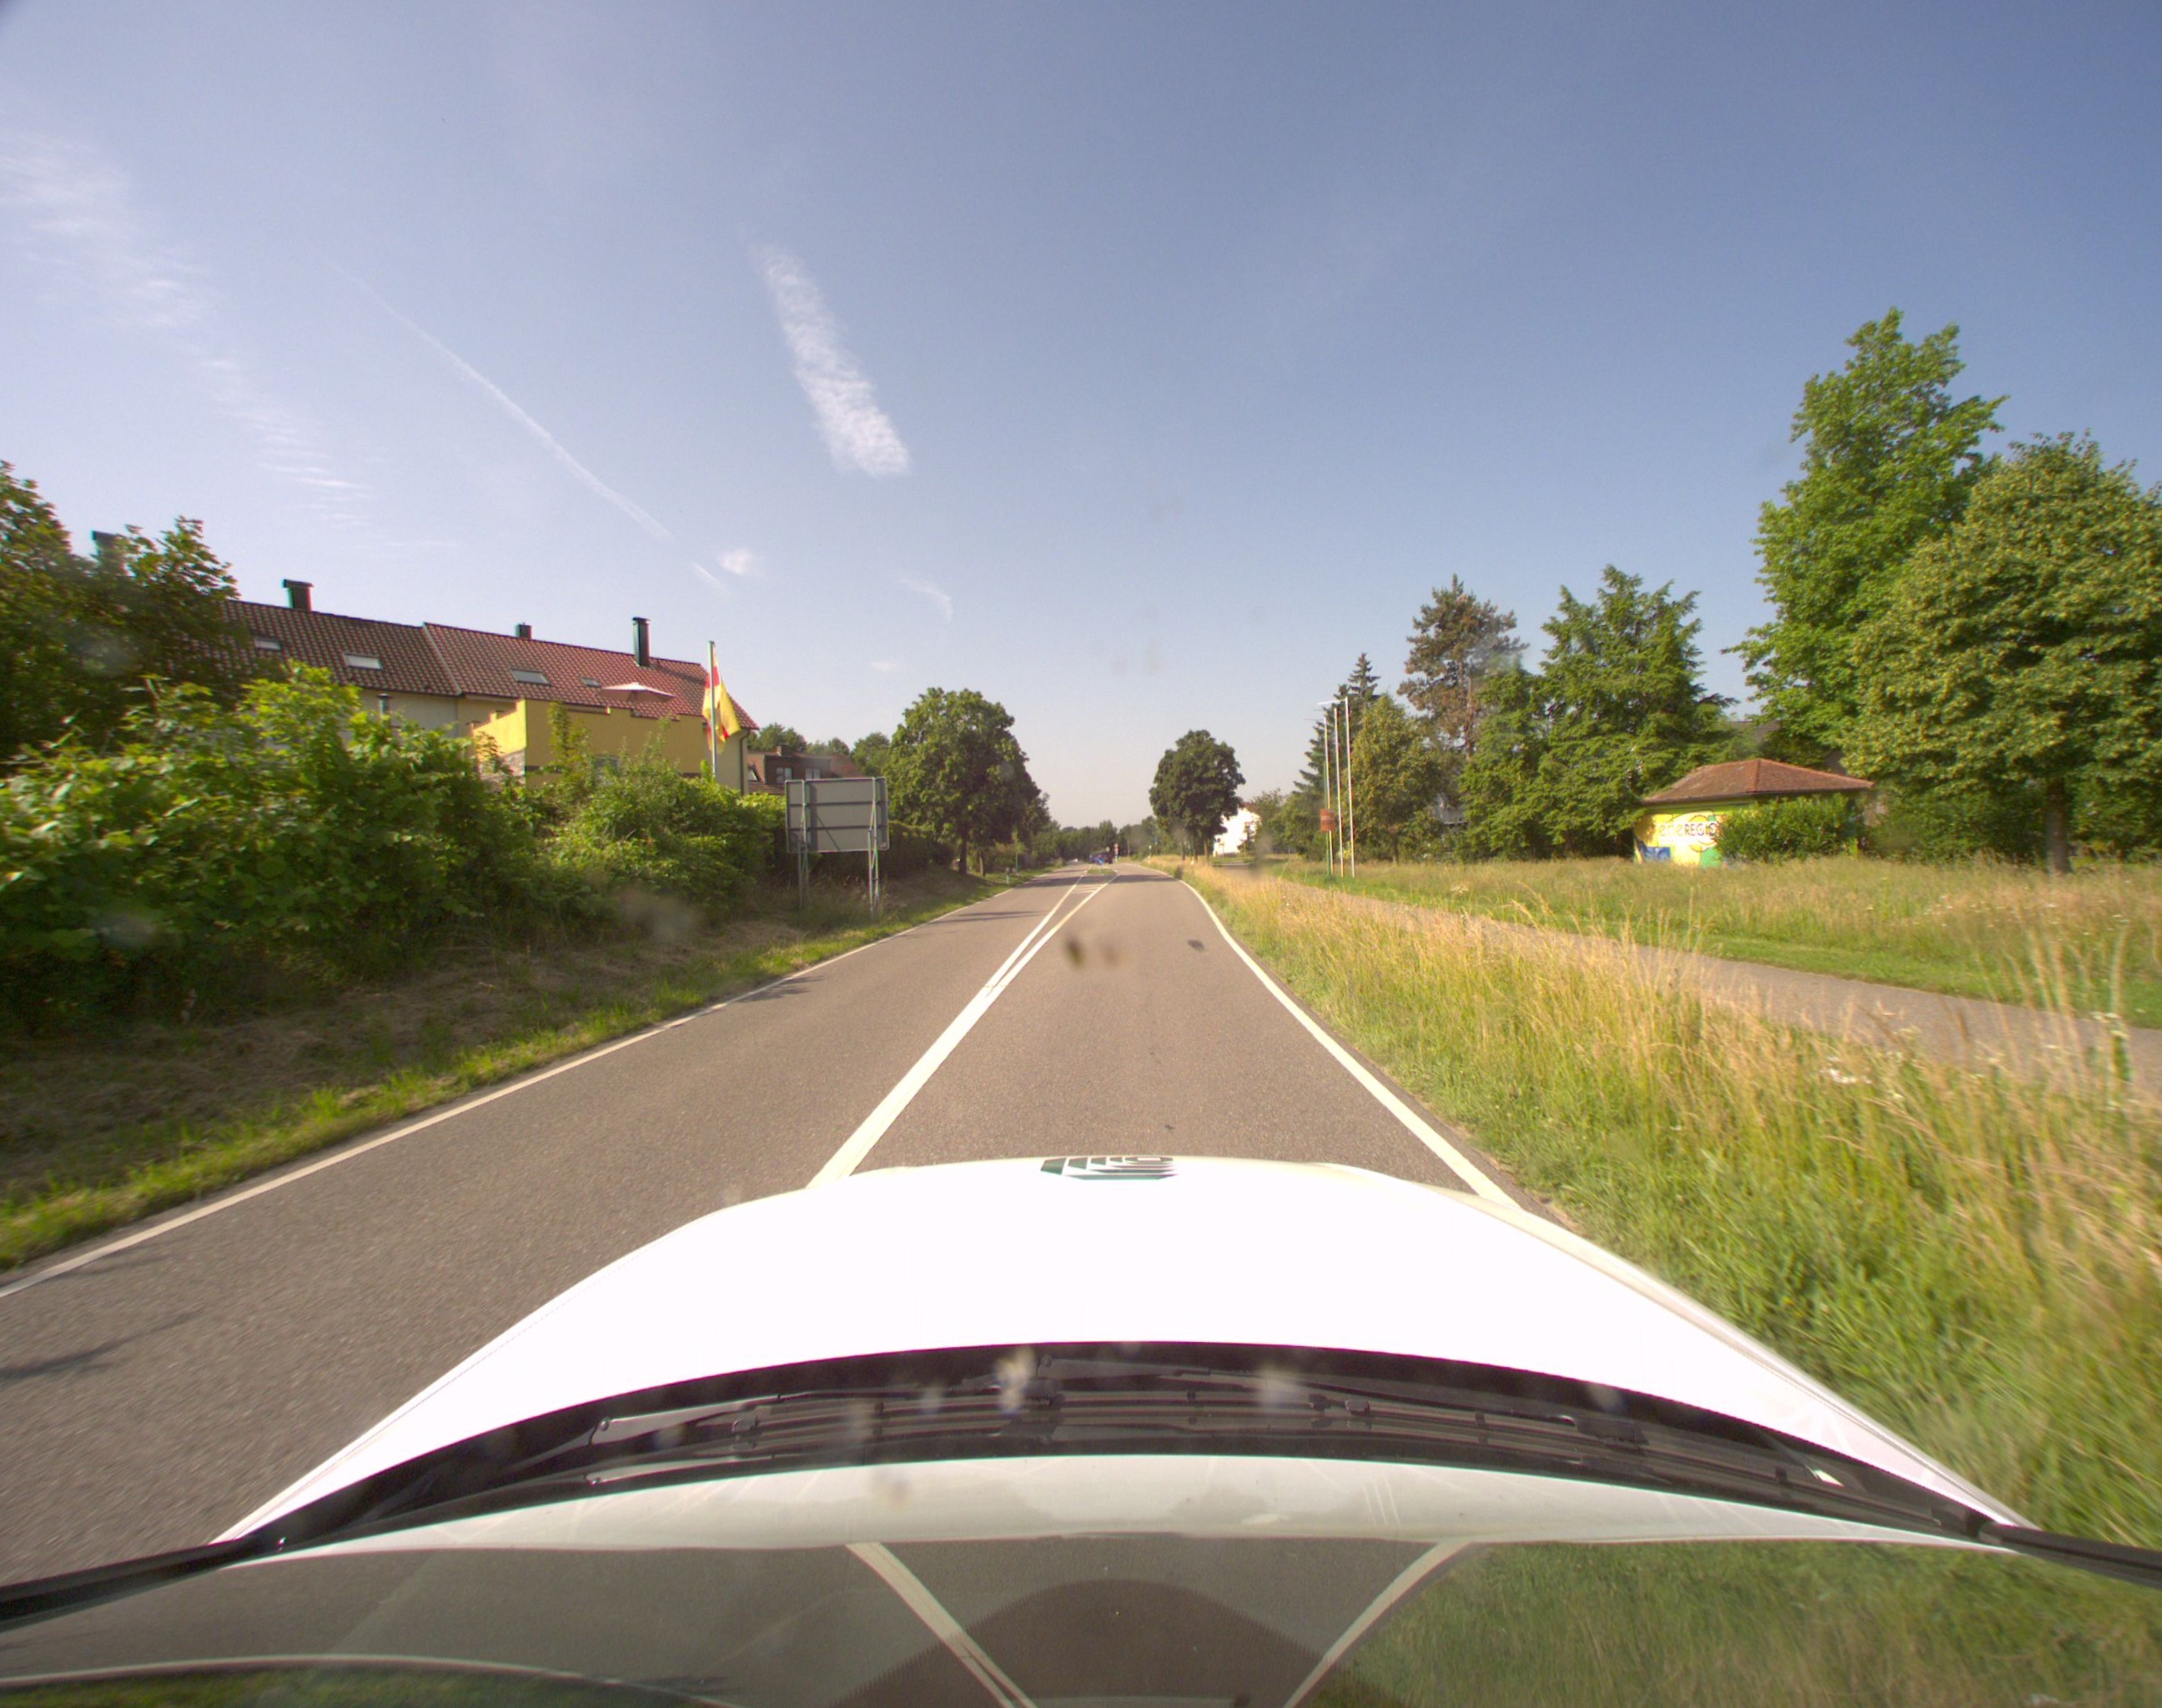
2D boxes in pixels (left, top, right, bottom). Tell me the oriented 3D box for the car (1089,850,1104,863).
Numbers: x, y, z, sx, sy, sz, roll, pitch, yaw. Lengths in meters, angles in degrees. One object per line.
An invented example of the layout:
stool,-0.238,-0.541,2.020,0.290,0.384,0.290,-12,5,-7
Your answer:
car,2.372,0.375,126.377,1.999,1.771,3.997,-2,0,-2

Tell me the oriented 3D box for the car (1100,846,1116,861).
car,3.500,-0.061,105.914,1.919,1.771,3.999,-2,0,-1
